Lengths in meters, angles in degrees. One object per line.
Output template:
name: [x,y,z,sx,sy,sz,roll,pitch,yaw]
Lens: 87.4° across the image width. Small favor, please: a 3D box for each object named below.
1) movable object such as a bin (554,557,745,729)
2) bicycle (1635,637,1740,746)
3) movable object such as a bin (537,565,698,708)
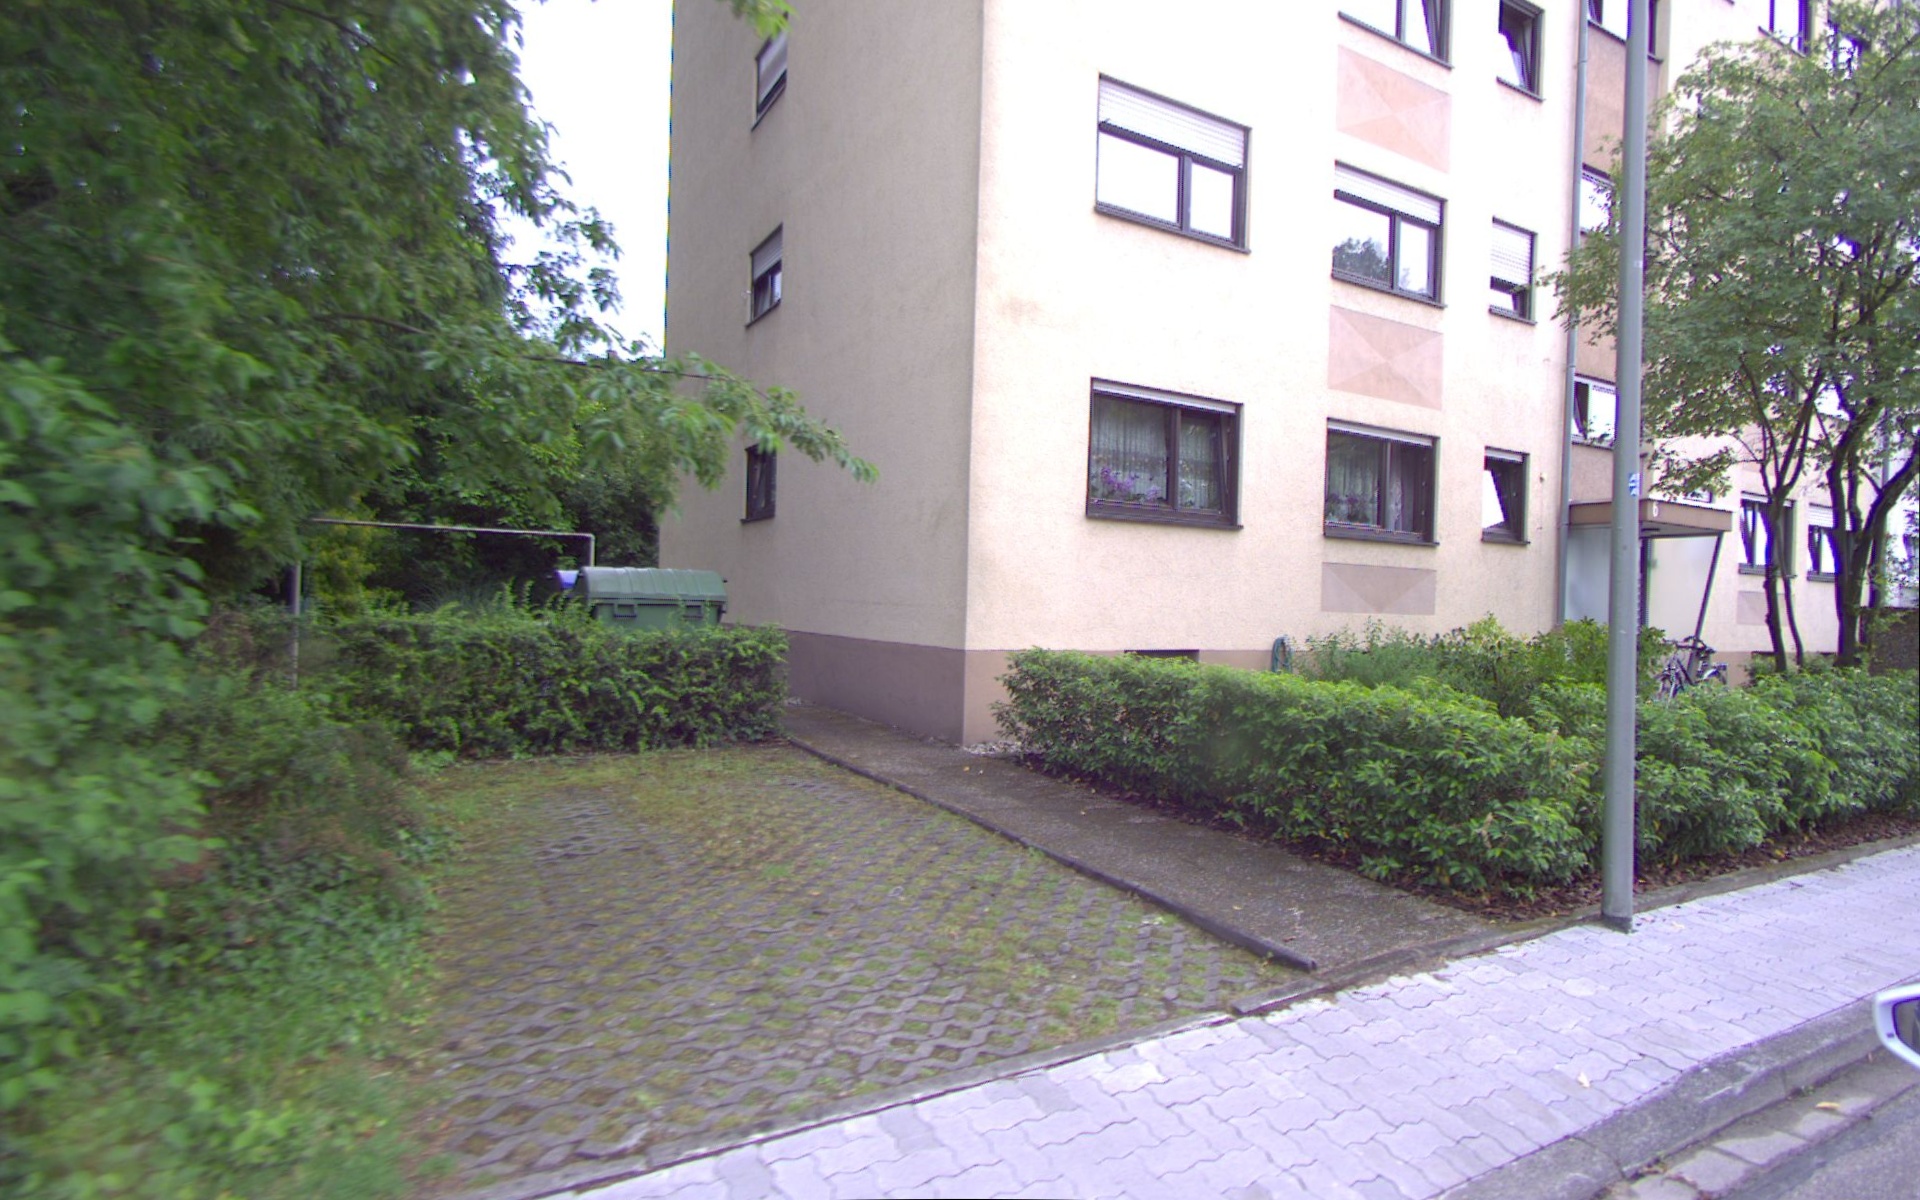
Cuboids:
movable object such as a bin: [-2.888,0.381,9.314,1.463,1.454,1.099,1,-1,-31]
bicycle: [7.863,0.953,10.835,1.672,1.065,0.313,0,1,-32]
movable object such as a bin: [-3.782,0.392,11.064,1.463,1.454,1.099,1,-1,-31]
